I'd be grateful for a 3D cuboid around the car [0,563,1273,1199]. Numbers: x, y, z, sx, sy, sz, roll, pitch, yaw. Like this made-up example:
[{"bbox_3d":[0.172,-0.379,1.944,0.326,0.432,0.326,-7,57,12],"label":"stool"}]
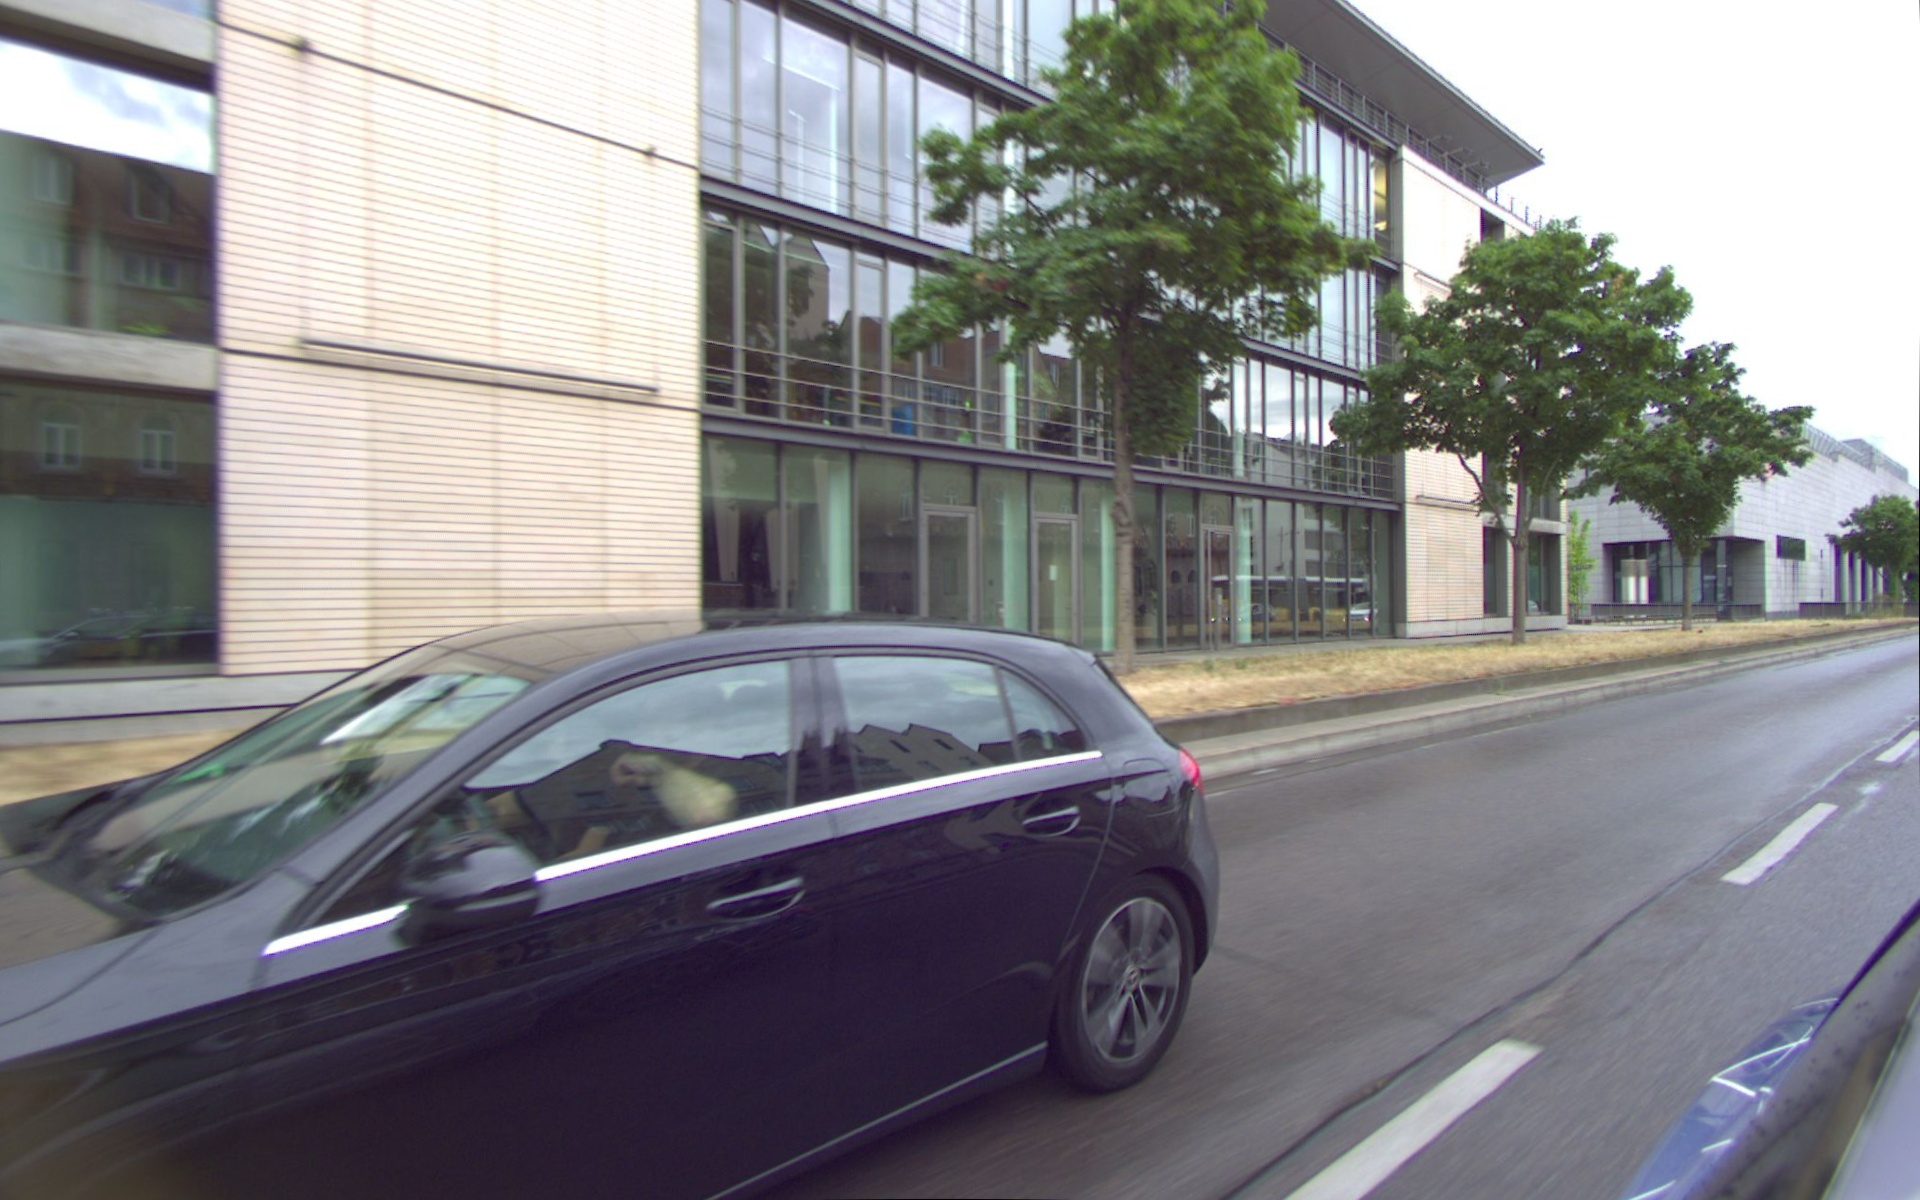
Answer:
[{"bbox_3d":[-1.075,0.664,2.828,4.133,1.454,1.875,0,1,-42],"label":"car"}]
